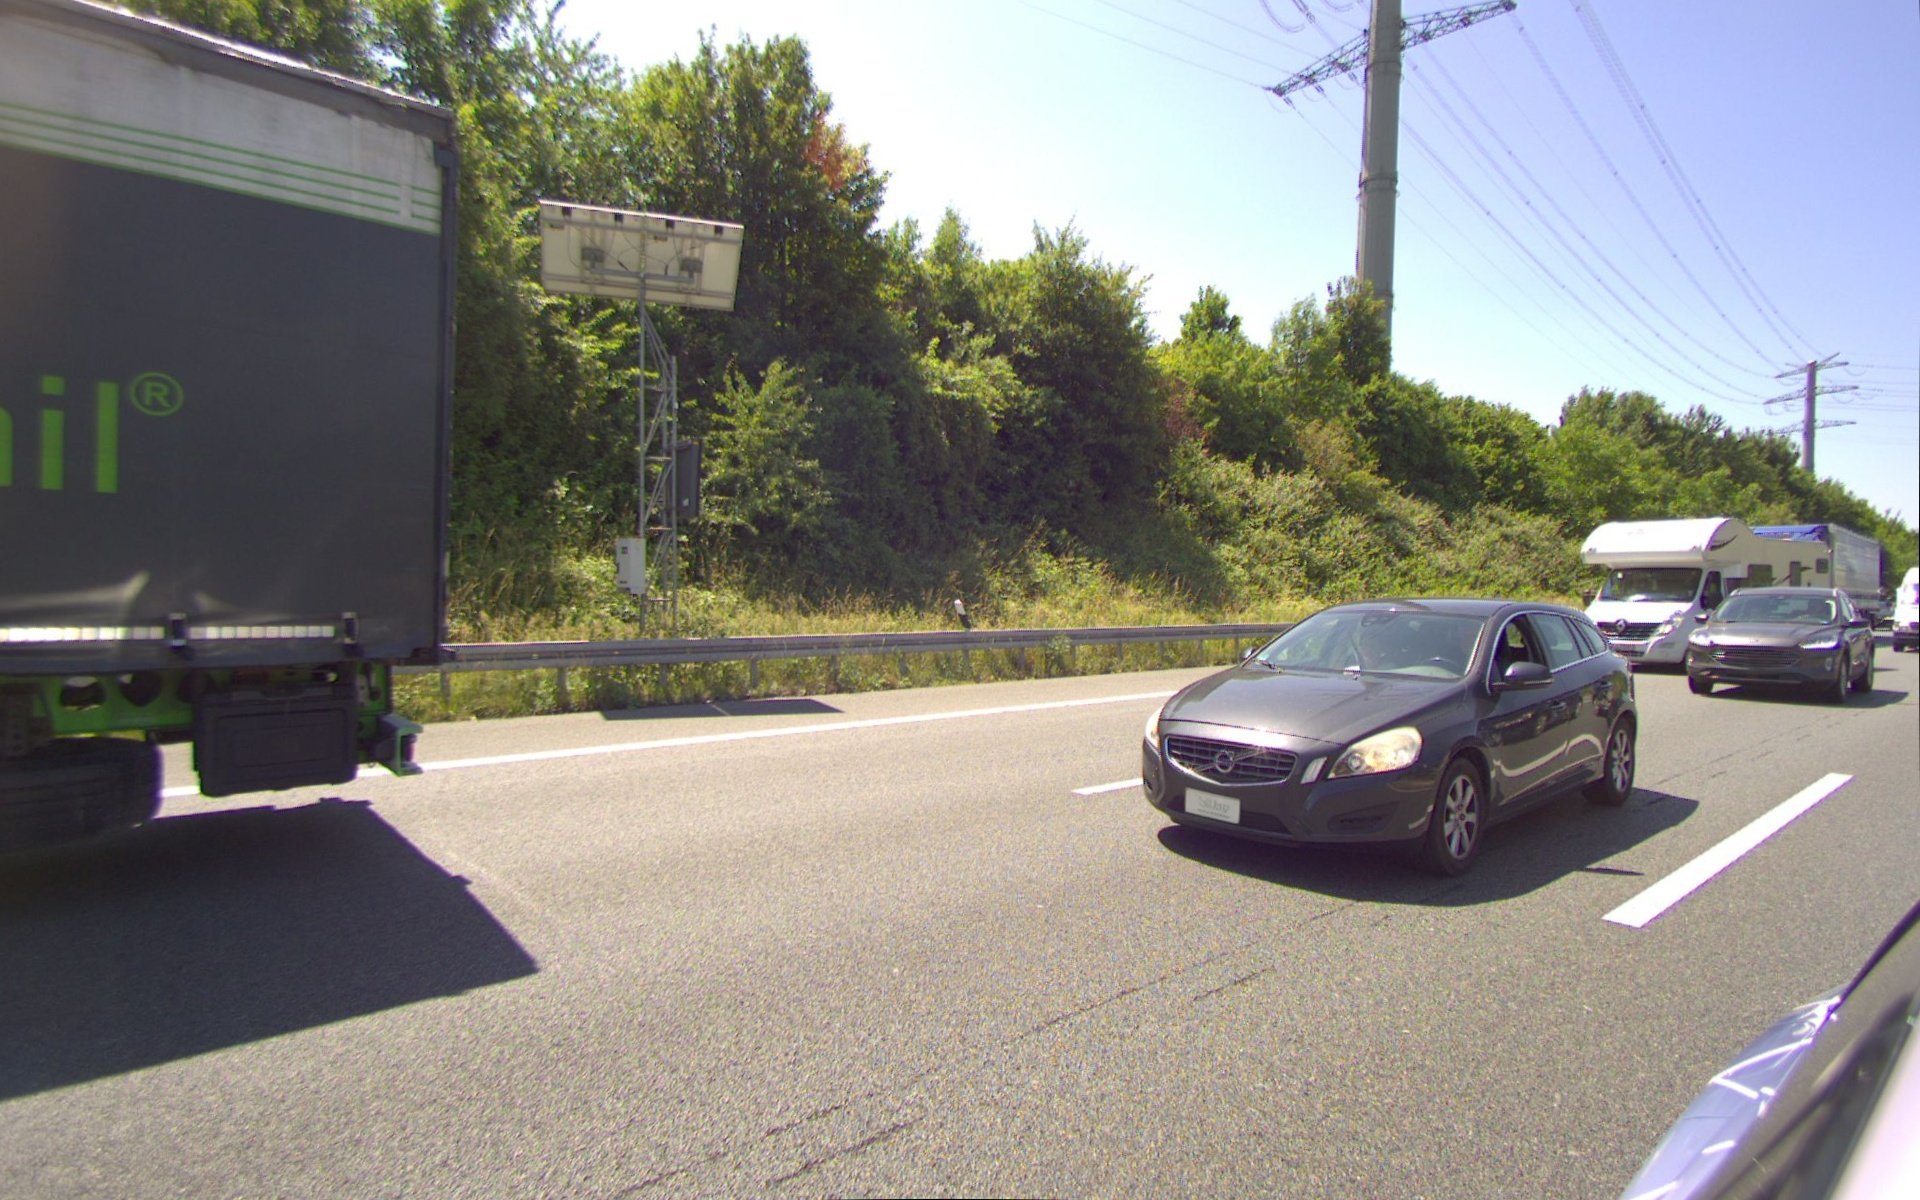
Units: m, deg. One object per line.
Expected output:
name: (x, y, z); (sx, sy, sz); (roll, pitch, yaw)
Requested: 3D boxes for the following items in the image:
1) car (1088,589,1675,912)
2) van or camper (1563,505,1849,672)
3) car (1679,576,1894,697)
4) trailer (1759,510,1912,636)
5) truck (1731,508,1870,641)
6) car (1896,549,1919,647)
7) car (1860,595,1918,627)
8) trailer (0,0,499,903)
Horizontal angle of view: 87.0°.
car: (3.007, 0.659, 6.686); (4.431, 1.437, 1.798); (-1, 0, -41)
van or camper: (16.182, -0.256, 21.757); (7.483, 3.082, 2.378); (-1, 0, -32)
car: (12.889, 0.469, 15.698); (4.146, 1.631, 1.892); (-1, 0, -41)
trailer: (34.769, -0.979, 39.902); (12.653, 4.317, 2.772); (-1, 0, -41)
truck: (29.121, -0.842, 35.013); (5.538, 4.197, 2.790); (-1, 0, -41)
car: (29.706, -0.095, 30.086); (6.589, 2.753, 2.041); (-1, 0, -41)
car: (47.493, 0.523, 51.714); (3.805, 1.538, 1.719); (-1, 0, -40)
trailer: (-8.062, -0.855, 1.886); (12.882, 4.098, 2.788); (-1, 0, -41)
